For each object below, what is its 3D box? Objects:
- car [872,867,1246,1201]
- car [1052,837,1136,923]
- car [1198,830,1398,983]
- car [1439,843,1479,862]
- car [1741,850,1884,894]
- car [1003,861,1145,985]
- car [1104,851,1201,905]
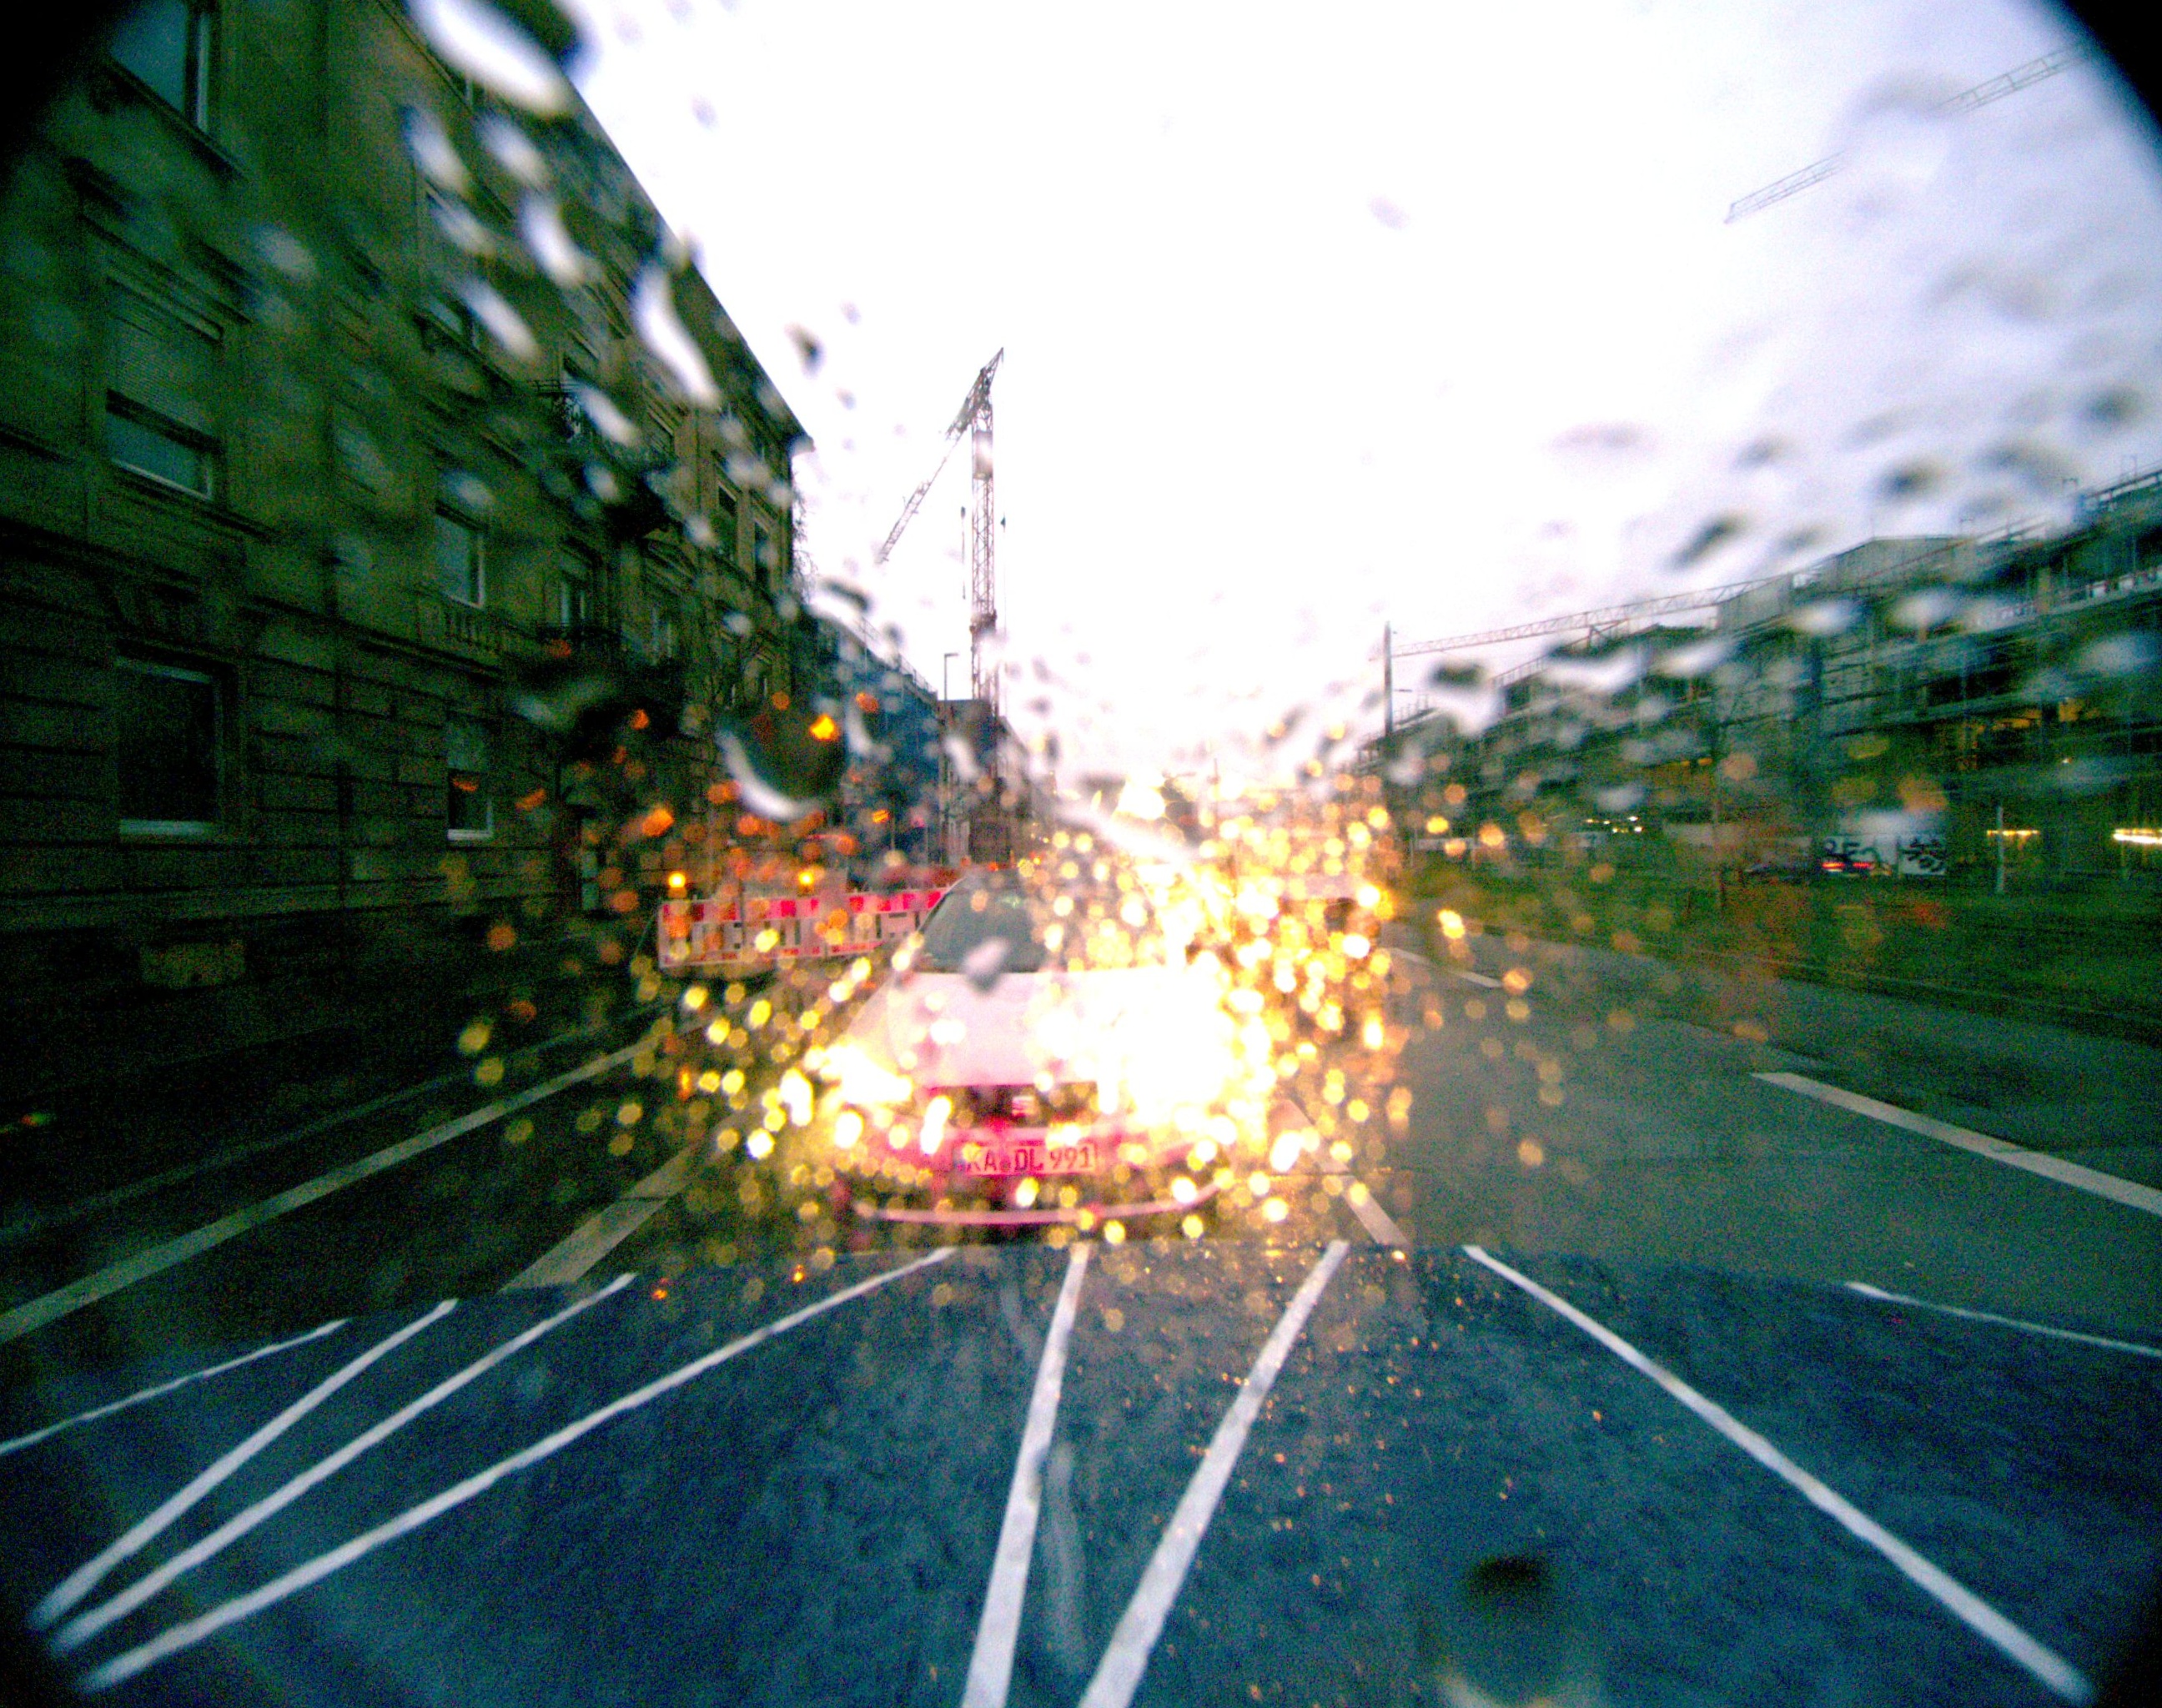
[{"bbox_3d":[-0.143,0.910,5.697,1.764,1.443,3.999,-2,1,-1],"label":"car"},{"bbox_3d":[0.259,0.580,19.369,1.858,1.886,3.999,-2,1,-1],"label":"car"},{"bbox_3d":[2.840,0.596,10.865,1.857,1.723,4.000,-2,1,3],"label":"car"},{"bbox_3d":[37.429,-0.203,75.258,1.998,1.761,4.000,-2,1,1],"label":"car"},{"bbox_3d":[31.111,0.719,32.498,1.958,1.677,4.081,-2,1,-6],"label":"car"},{"bbox_3d":[-0.130,0.902,11.755,1.764,1.443,3.999,-2,1,-1],"label":"car"},{"bbox_3d":[2.415,0.765,26.711,1.847,1.644,4.317,-2,1,-17],"label":"car"}]
